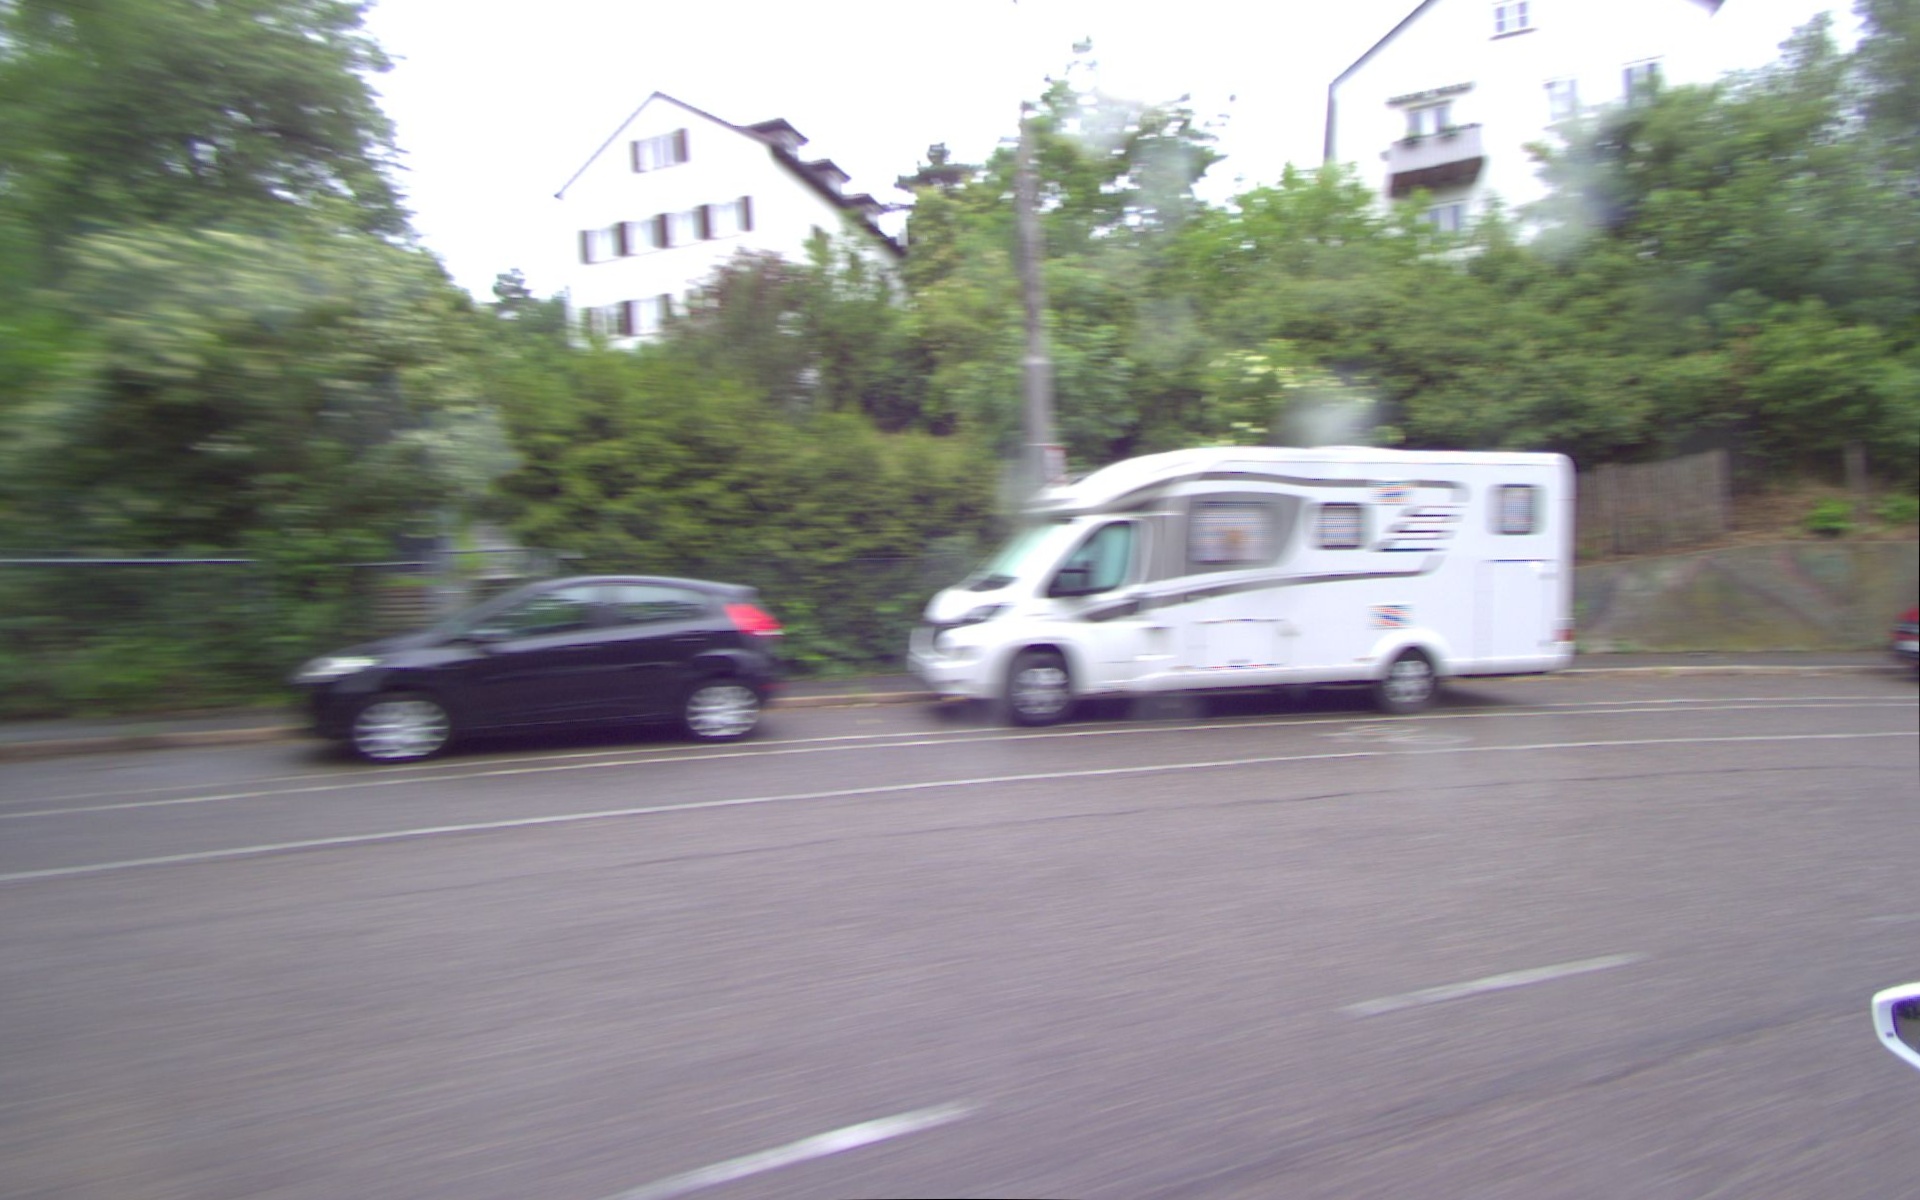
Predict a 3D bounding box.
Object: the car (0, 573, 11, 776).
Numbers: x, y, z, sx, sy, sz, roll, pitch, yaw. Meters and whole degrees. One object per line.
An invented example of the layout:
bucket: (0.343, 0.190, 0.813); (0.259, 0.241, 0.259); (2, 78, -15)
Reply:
car: (-8.449, 0.537, 5.651); (4.333, 1.483, 1.978); (1, 1, -39)

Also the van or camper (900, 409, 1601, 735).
van or camper: (3.173, -0.314, 11.372); (7.399, 3.007, 2.451); (0, 2, -14)

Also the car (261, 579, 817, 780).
car: (-3.499, 0.546, 8.873); (4.075, 1.430, 1.903); (0, 1, -25)

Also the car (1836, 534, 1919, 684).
car: (14.478, 0.078, 12.816); (4.725, 1.901, 2.000); (-1, 3, 2)
